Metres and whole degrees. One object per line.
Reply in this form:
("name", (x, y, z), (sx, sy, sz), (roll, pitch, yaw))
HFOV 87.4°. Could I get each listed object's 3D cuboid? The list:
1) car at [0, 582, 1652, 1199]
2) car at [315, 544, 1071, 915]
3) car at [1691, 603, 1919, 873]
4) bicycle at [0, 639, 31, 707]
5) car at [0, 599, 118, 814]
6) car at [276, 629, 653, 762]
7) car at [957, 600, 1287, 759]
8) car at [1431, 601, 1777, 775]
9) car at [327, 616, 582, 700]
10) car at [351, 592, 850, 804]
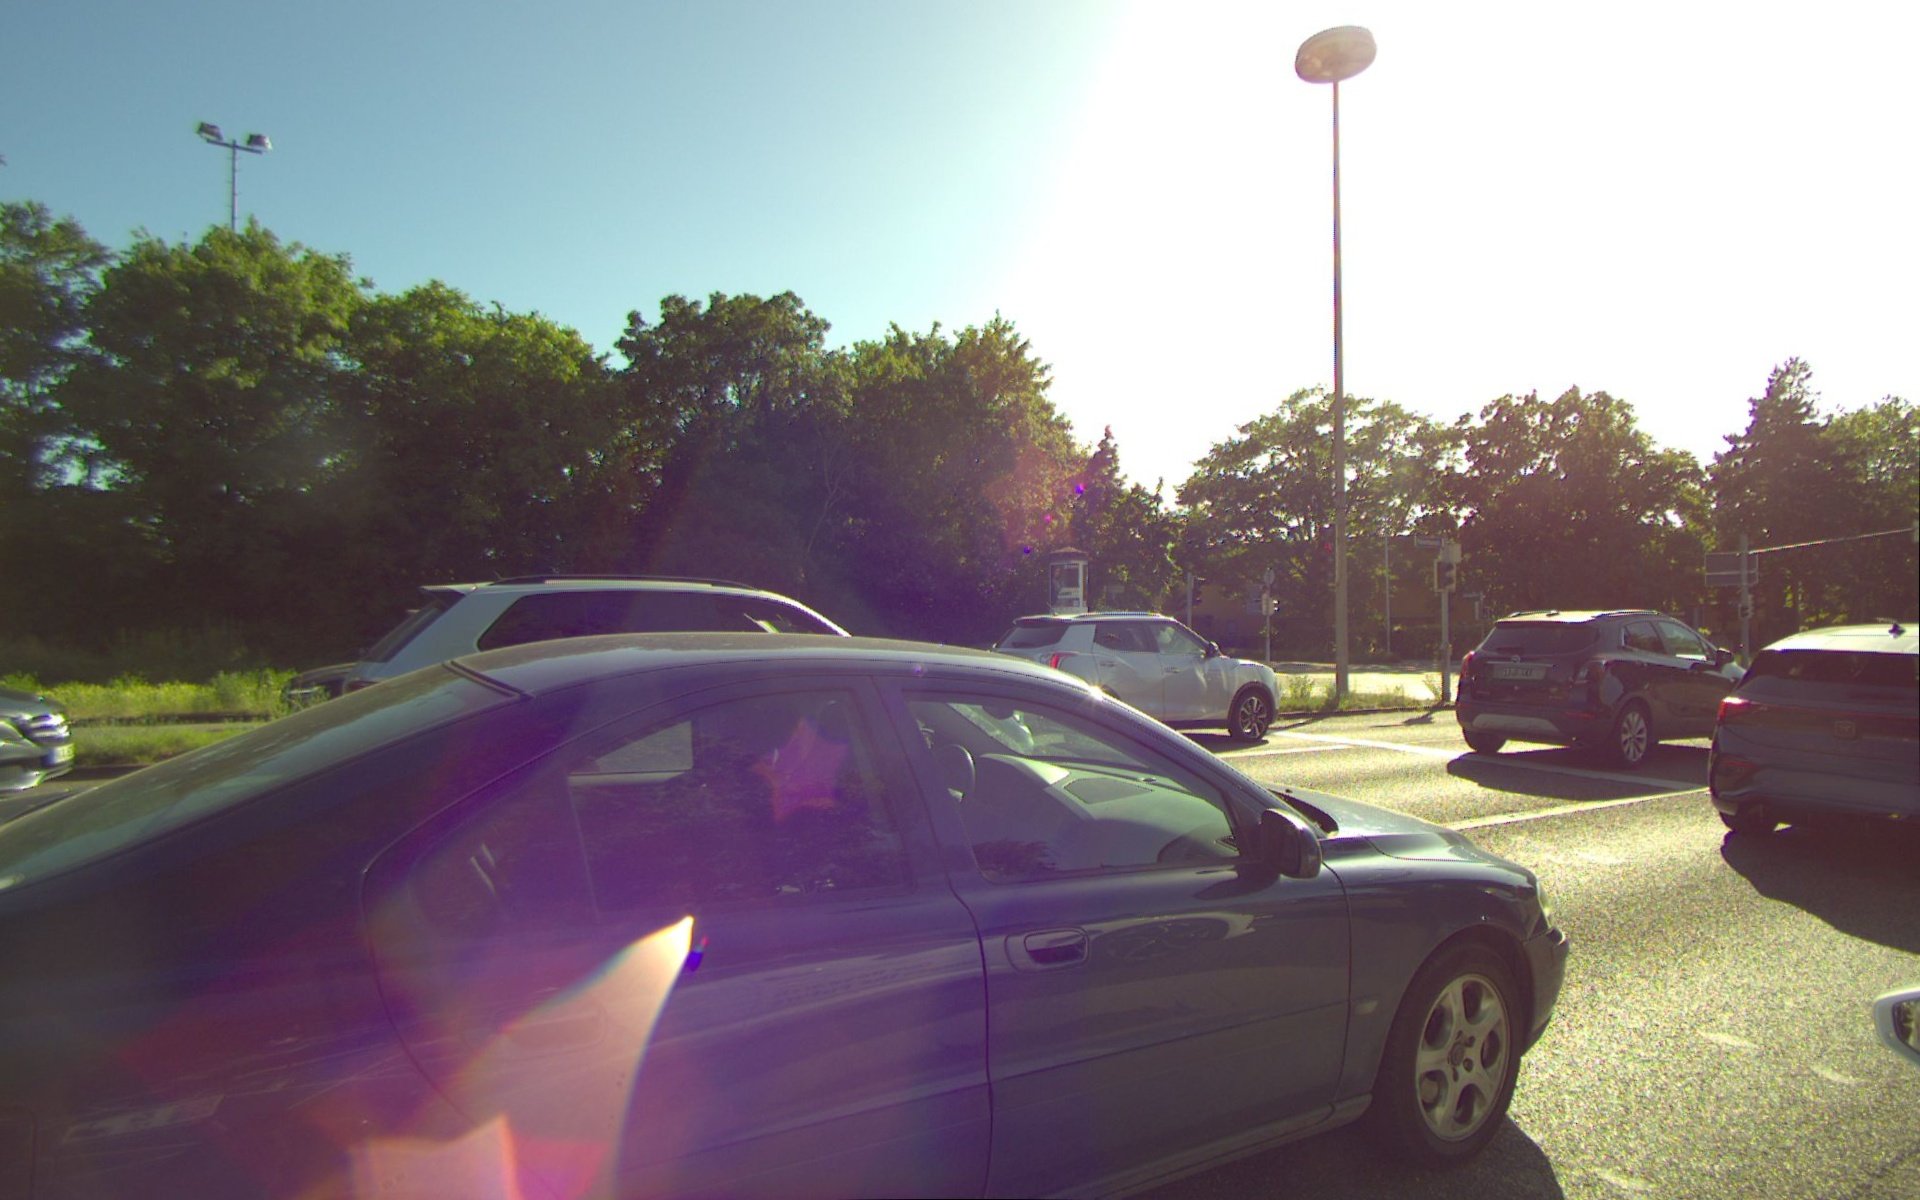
("car", (-0.236, 0.767, 2.724), (4.404, 1.471, 1.767), (2, 0, -30))
("car", (-1.605, 0.681, 6.678), (4.373, 1.732, 1.984), (1, -2, -30))
("car", (7.319, 0.884, 7.337), (4.158, 1.601, 1.676), (2, -1, -30))
("bicycle", (-18.448, 1.313, 17.988), (2.511, 1.228, 0.870), (2, -3, -35))
("car", (-8.629, 0.700, 6.552), (4.499, 1.448, 1.822), (1, -2, -30))
("car", (-6.272, 1.138, 13.018), (4.116, 1.482, 1.768), (1, -2, -30))
("car", (2.103, 0.941, 12.766), (3.956, 1.724, 1.820), (2, -2, -32))
("car", (7.528, 0.935, 11.691), (3.953, 1.711, 1.796), (1, -2, -30))
("car", (-8.197, 0.921, 16.453), (3.593, 1.251, 1.383), (1, -2, -30))
("car", (-3.325, 0.831, 9.597), (4.156, 1.632, 1.822), (1, -2, -30))
